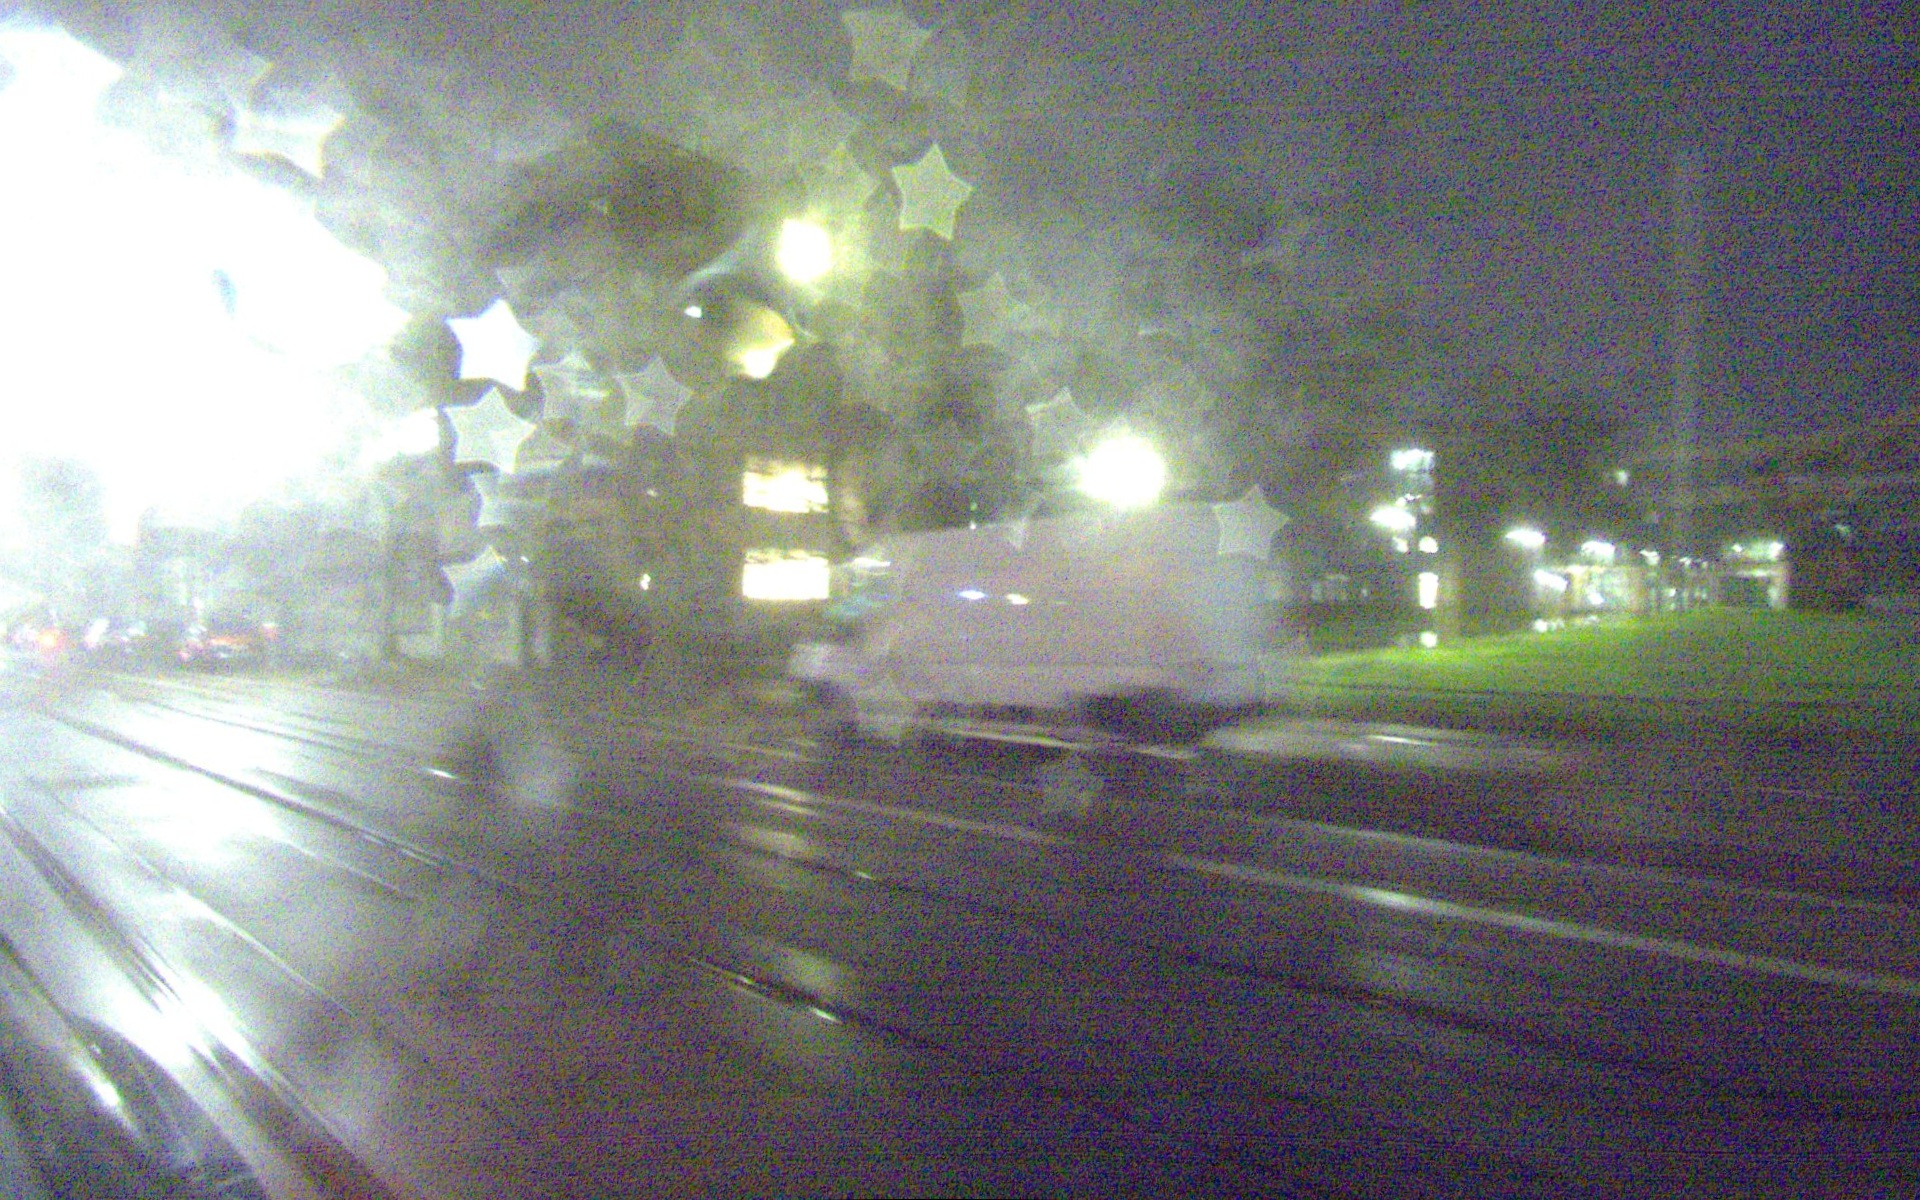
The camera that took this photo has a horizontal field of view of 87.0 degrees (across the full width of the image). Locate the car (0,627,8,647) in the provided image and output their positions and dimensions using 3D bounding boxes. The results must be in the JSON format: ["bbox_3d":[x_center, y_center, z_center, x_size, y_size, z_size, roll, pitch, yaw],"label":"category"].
[{"bbox_3d":[-71.115,2.700,73.795,4.601,1.451,1.756,-1,-1,38],"label":"car"}]

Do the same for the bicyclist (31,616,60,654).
[{"bbox_3d":[-40.760,1.546,45.121,1.205,1.668,0.774,-1,-3,41],"label":"bicyclist"}]

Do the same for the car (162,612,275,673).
[{"bbox_3d":[-23.086,1.241,31.456,4.600,1.668,1.948,-1,2,43],"label":"car"}]

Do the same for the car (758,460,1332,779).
[{"bbox_3d":[0.544,0.221,11.273,6.392,2.611,2.161,-2,-1,43],"label":"car"}]

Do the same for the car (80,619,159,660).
[{"bbox_3d":[-36.514,1.663,43.936,4.515,1.643,1.963,-1,0,41],"label":"car"}]

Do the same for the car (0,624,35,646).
[{"bbox_3d":[-63.871,2.344,68.049,4.203,1.434,1.822,-1,-1,38],"label":"car"}]

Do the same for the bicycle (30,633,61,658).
[{"bbox_3d":[-40.770,2.013,45.107,1.917,1.090,0.774,-1,-3,42],"label":"bicycle"}]

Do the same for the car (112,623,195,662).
[{"bbox_3d":[-31.084,1.602,38.985,3.909,1.432,1.674,-1,-2,38],"label":"car"}]

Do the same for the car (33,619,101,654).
[{"bbox_3d":[-46.660,1.871,52.839,4.394,1.556,1.862,-1,3,38],"label":"car"}]

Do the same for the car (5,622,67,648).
[{"bbox_3d":[-55.969,2.073,61.283,4.951,1.474,1.870,-1,-1,37],"label":"car"}]
